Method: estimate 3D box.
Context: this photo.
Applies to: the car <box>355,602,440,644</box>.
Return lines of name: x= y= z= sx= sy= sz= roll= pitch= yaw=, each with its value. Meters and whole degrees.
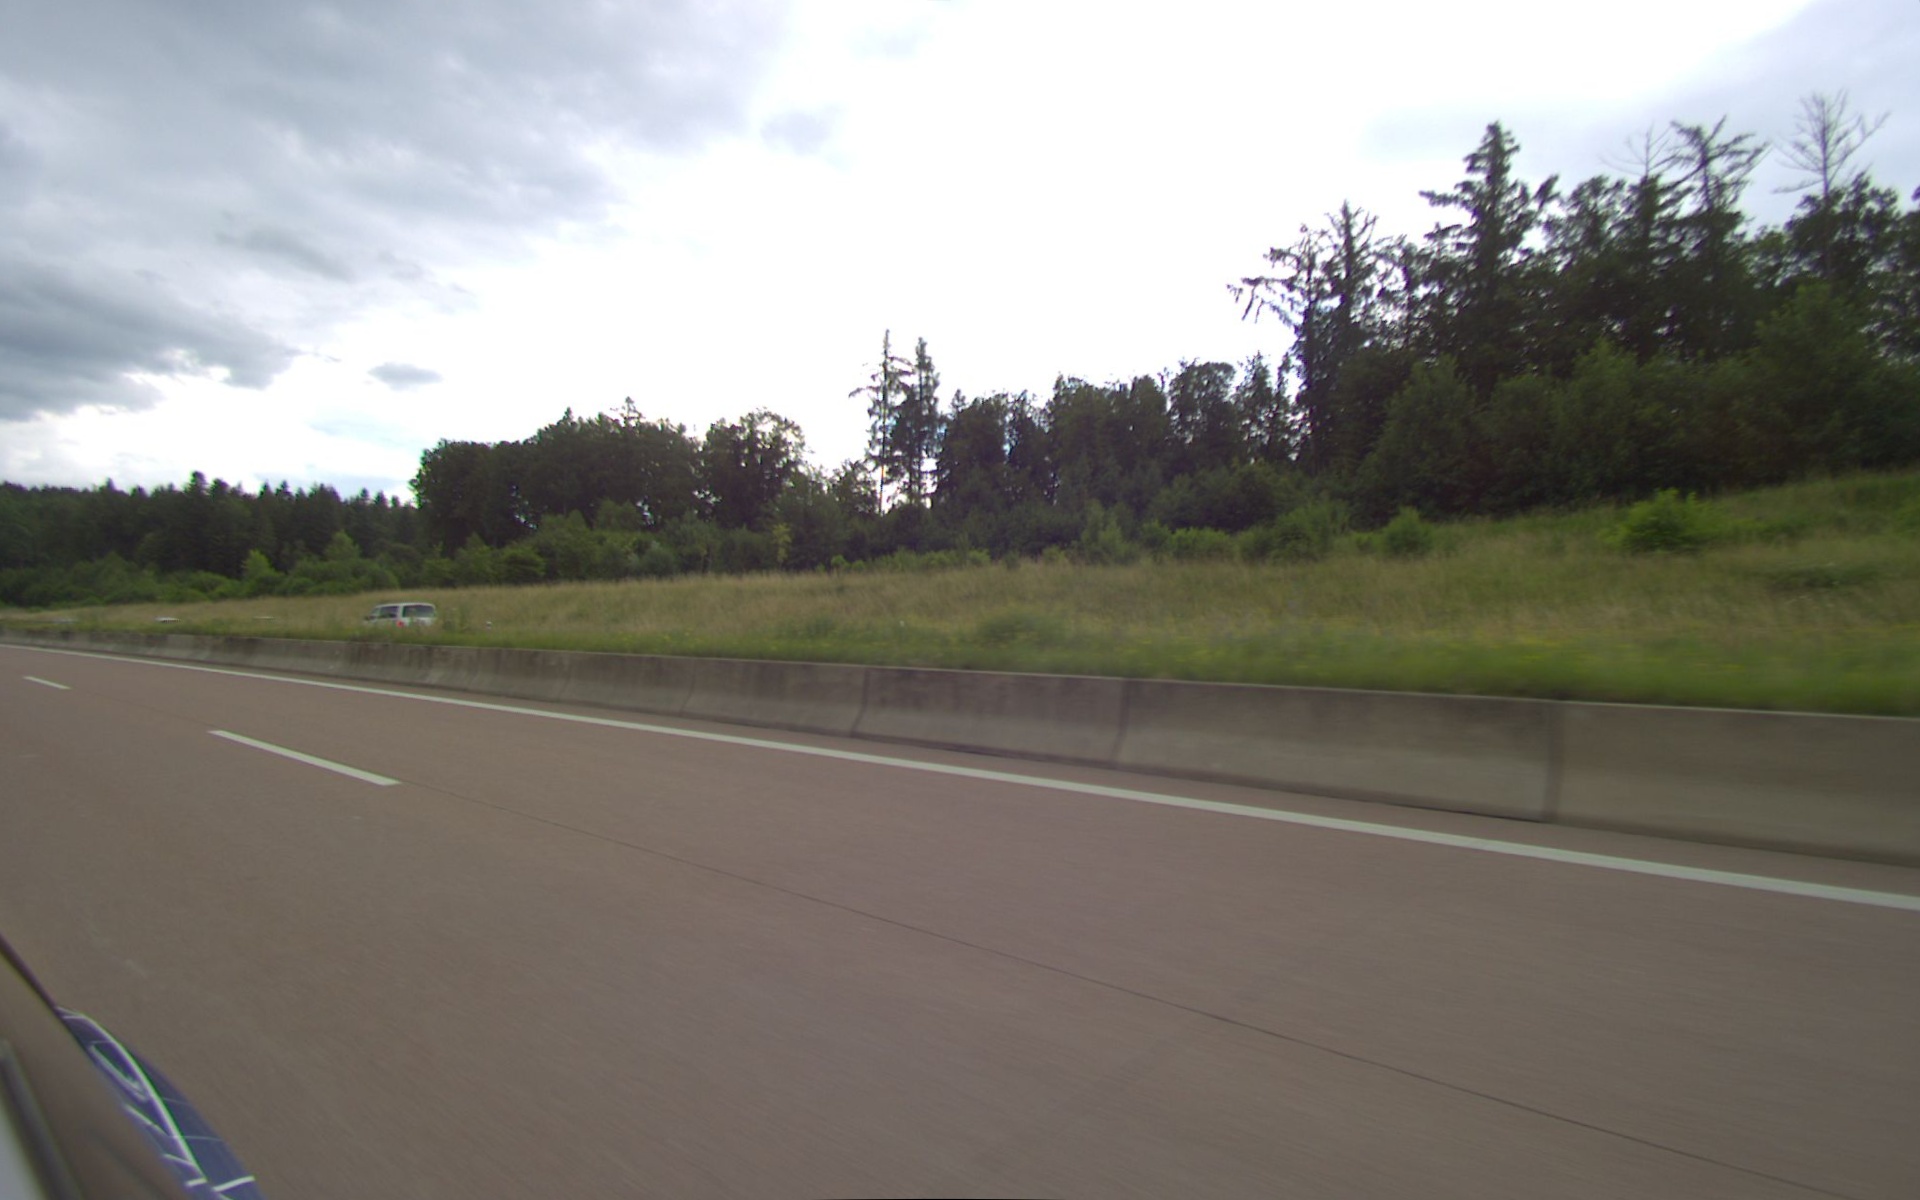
car: x=-26.780 y=1.086 z=48.106 sx=5.148 sy=1.889 sz=1.898 roll=-1 pitch=-1 yaw=41

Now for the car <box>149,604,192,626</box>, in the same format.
car: x=-55.581 y=1.052 z=71.214 sx=3.802 sy=1.427 sz=1.580 roll=1 pitch=1 yaw=39
